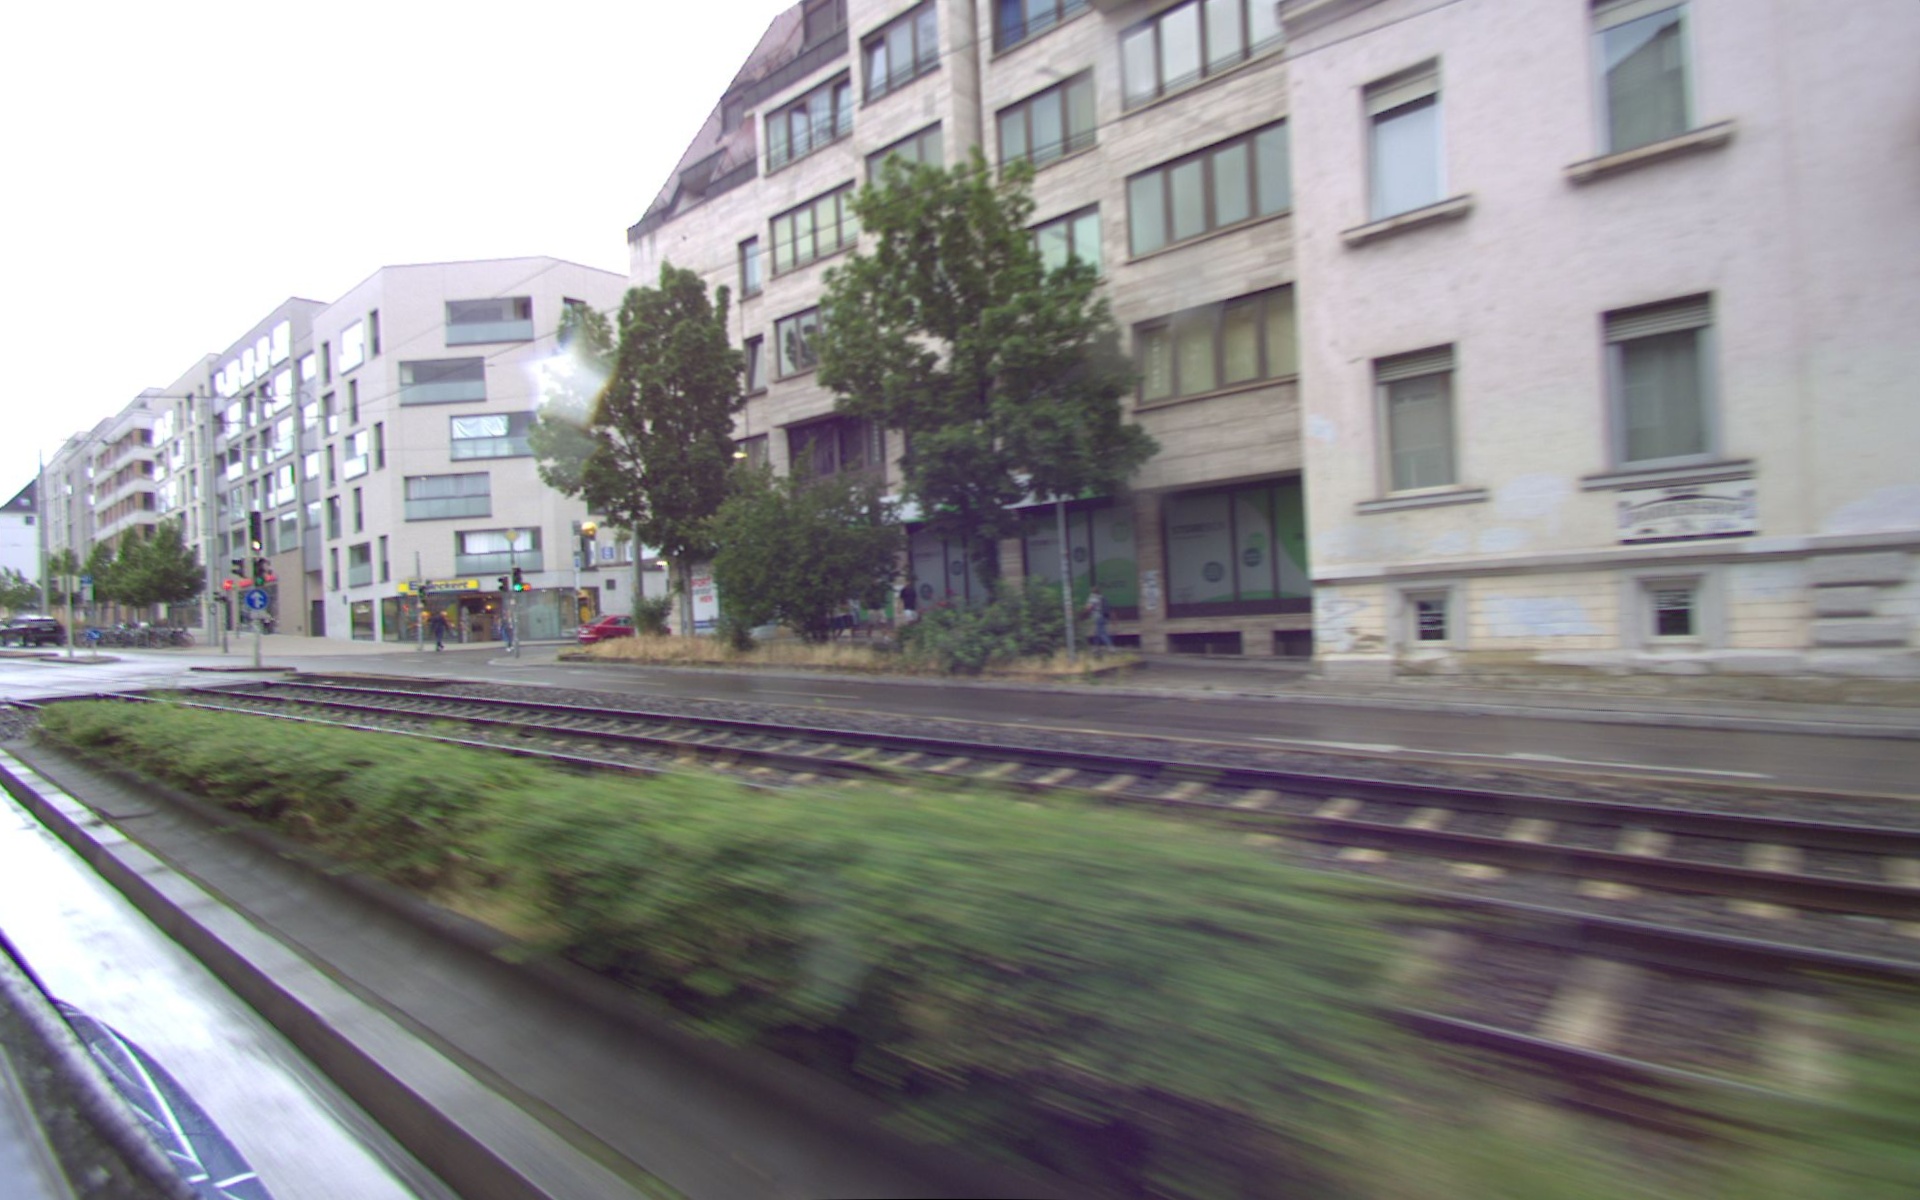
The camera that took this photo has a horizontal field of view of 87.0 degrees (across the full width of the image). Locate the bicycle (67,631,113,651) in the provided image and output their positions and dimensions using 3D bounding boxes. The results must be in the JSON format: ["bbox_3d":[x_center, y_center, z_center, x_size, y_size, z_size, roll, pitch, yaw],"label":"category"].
[{"bbox_3d":[-44.671,2.088,51.999,0.385,0.924,1.773,0,0,26],"label":"bicycle"}]

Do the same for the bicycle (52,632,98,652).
[{"bbox_3d":[-46.241,2.169,52.885,0.385,0.924,1.774,0,1,26],"label":"bicycle"}]

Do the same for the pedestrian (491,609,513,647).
[{"bbox_3d":[-21.148,1.297,46.747,0.580,1.723,0.701,-1,1,17],"label":"pedestrian"}]

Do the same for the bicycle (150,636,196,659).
[{"bbox_3d":[-38.796,2.323,49.905,0.438,0.987,1.774,0,2,26],"label":"bicycle"}]

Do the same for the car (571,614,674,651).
[{"bbox_3d":[-13.726,1.288,41.236,1.594,1.327,3.652,0,1,44],"label":"car"}]

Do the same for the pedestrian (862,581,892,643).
[{"bbox_3d":[-2.213,0.309,26.950,0.585,1.609,0.499,0,3,39],"label":"pedestrian"}]

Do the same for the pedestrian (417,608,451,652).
[{"bbox_3d":[-22.535,1.260,43.359,0.957,1.843,0.923,0,-1,33],"label":"pedestrian"}]

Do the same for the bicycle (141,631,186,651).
[{"bbox_3d":[-39.784,2.038,50.561,0.385,0.883,1.772,0,2,28],"label":"bicycle"}]

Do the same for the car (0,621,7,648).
[{"bbox_3d":[-56.093,1.989,57.505,4.312,1.475,1.669,0,2,30],"label":"car"}]

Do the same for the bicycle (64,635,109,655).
[{"bbox_3d":[-45.339,2.325,52.560,0.385,0.924,1.774,0,1,26],"label":"bicycle"}]

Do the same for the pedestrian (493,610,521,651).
[{"bbox_3d":[-18.512,1.242,41.337,0.767,1.580,0.648,-1,2,3],"label":"pedestrian"}]

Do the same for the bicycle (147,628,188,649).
[{"bbox_3d":[-40.226,1.960,51.403,0.383,0.924,1.783,-1,1,12],"label":"bicycle"}]

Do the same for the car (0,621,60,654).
[{"bbox_3d":[-50.023,1.984,54.022,4.312,1.615,1.669,0,2,30],"label":"car"}]

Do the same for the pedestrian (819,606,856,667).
[{"bbox_3d":[-3.234,0.946,26.662,0.683,1.560,0.641,0,3,39],"label":"pedestrian"}]

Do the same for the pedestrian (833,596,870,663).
[{"bbox_3d":[-2.928,0.779,27.250,0.683,1.737,0.641,0,3,39],"label":"pedestrian"}]

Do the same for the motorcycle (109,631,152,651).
[{"bbox_3d":[-45.677,2.242,55.721,0.540,1.050,1.748,1,0,27],"label":"motorcycle"}]
